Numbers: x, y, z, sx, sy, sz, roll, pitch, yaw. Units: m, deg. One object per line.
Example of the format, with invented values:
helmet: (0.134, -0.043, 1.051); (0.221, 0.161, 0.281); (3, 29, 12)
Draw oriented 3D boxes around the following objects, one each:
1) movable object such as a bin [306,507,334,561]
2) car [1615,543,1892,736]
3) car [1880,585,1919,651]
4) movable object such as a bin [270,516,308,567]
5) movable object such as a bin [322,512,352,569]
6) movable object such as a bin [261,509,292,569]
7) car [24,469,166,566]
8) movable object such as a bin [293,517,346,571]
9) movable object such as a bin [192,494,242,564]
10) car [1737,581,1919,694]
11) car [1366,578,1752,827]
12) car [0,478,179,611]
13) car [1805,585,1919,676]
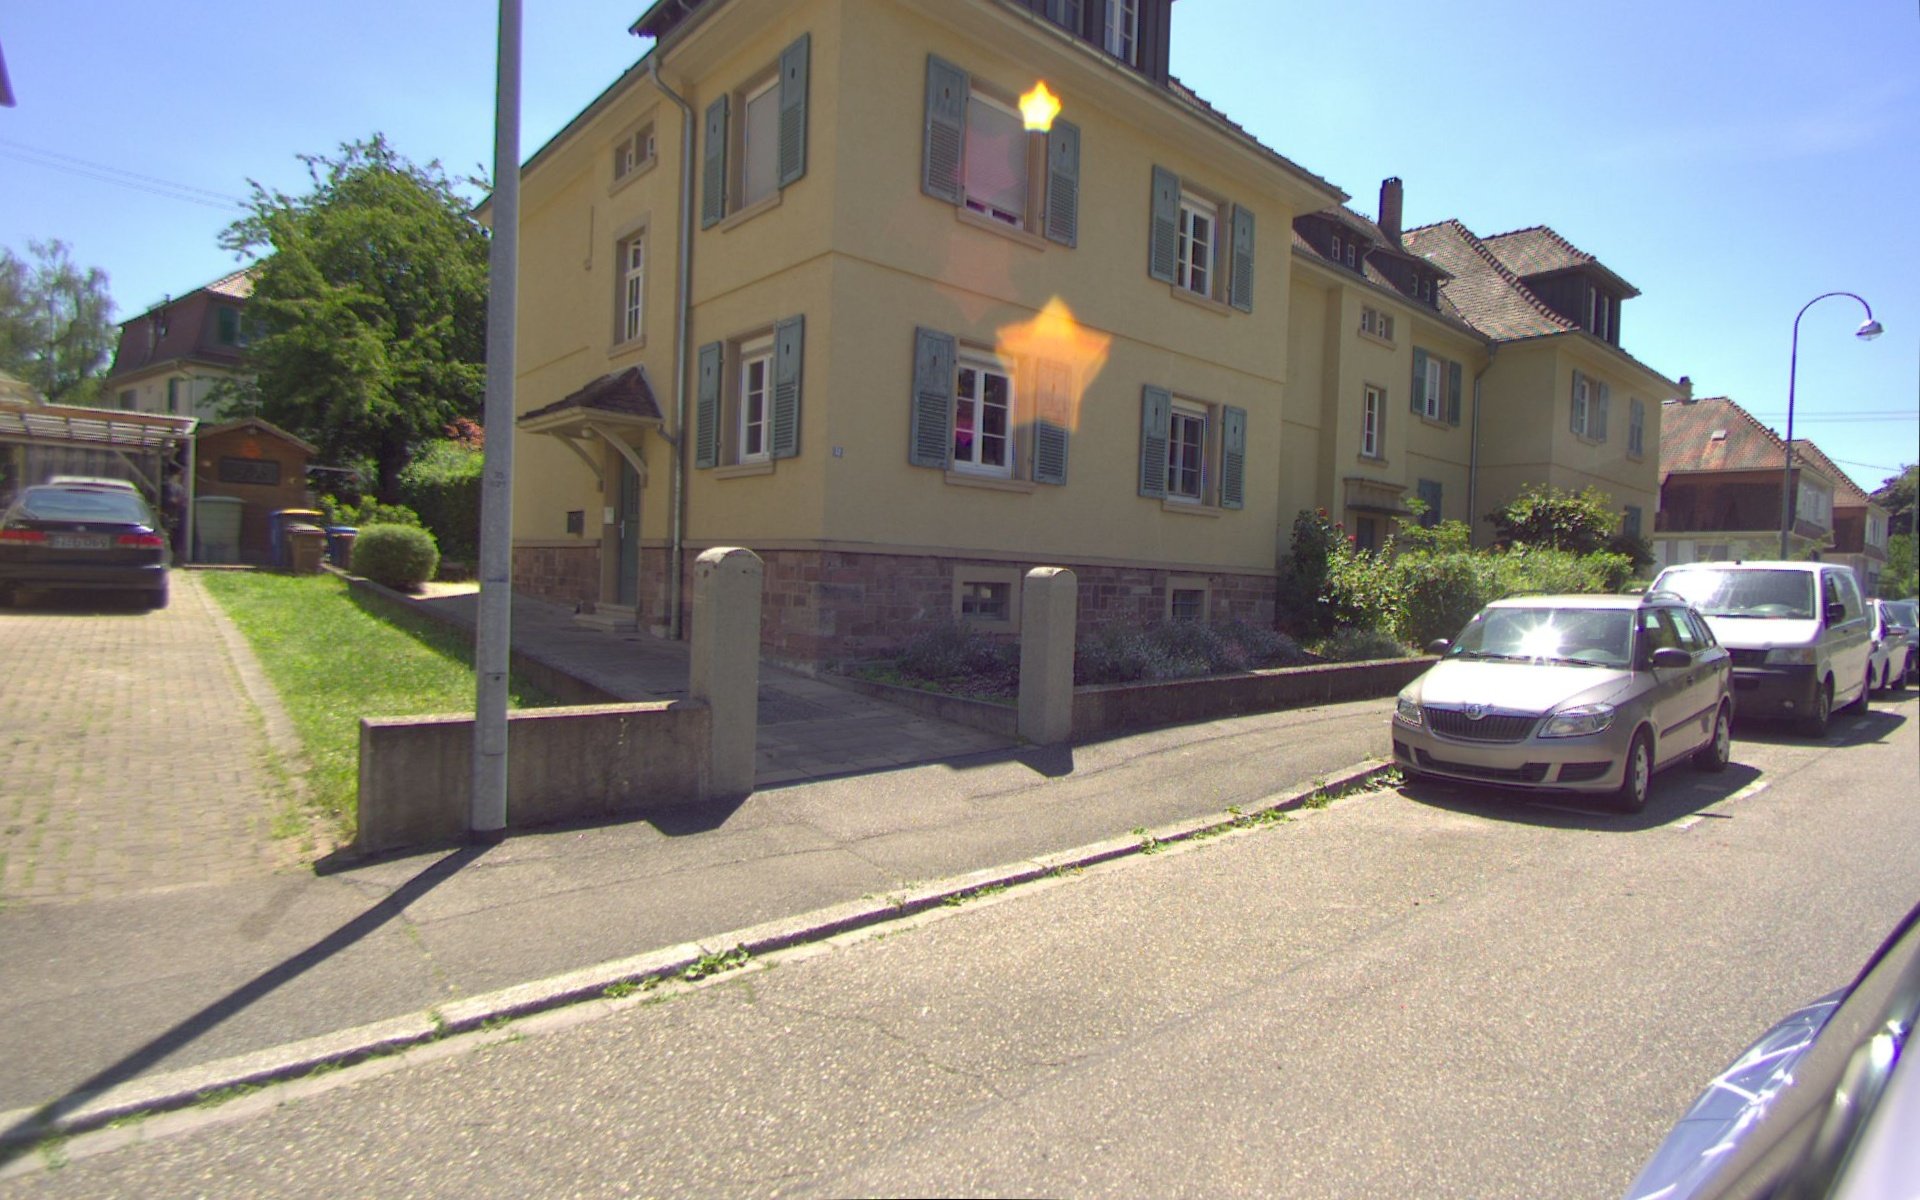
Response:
movable object such as a bin: (-13.141, -1.348, 20.782); (0.463, 1.068, 0.482); (0, 6, -36)
car: (9.651, 0.371, 12.167); (4.610, 1.892, 1.850); (0, 0, -42)
car: (24.081, 0.400, 24.834); (4.263, 1.533, 1.804); (0, 1, -42)
movable object such as a bin: (-12.996, -1.132, 19.592); (0.579, 0.937, 0.558); (1, 5, -36)
movable object such as a bin: (-12.061, -1.147, 19.594); (0.463, 1.068, 0.482); (0, 6, -36)
movable object such as a bin: (-12.699, -1.136, 18.798); (0.463, 1.068, 0.482); (0, 6, -36)
car: (-15.680, -1.533, 18.481); (1.767, 1.493, 3.999); (2, 4, -39)
movable object such as a bin: (-11.662, -1.020, 18.428); (0.721, 0.937, 0.556); (0, 3, -45)
movable object such as a bin: (-13.967, -1.335, 19.019); (0.720, 1.268, 0.557); (1, 4, -39)
car: (13.761, 0.493, 15.834); (4.263, 1.533, 1.804); (0, 0, -42)
car: (4.936, 0.615, 8.106); (3.932, 1.522, 1.598); (0, 0, -42)
car: (-11.155, -0.766, 12.906); (1.767, 1.409, 3.999); (2, 4, -39)
car: (17.252, 0.494, 18.803); (4.263, 1.533, 1.804); (0, 1, -42)
